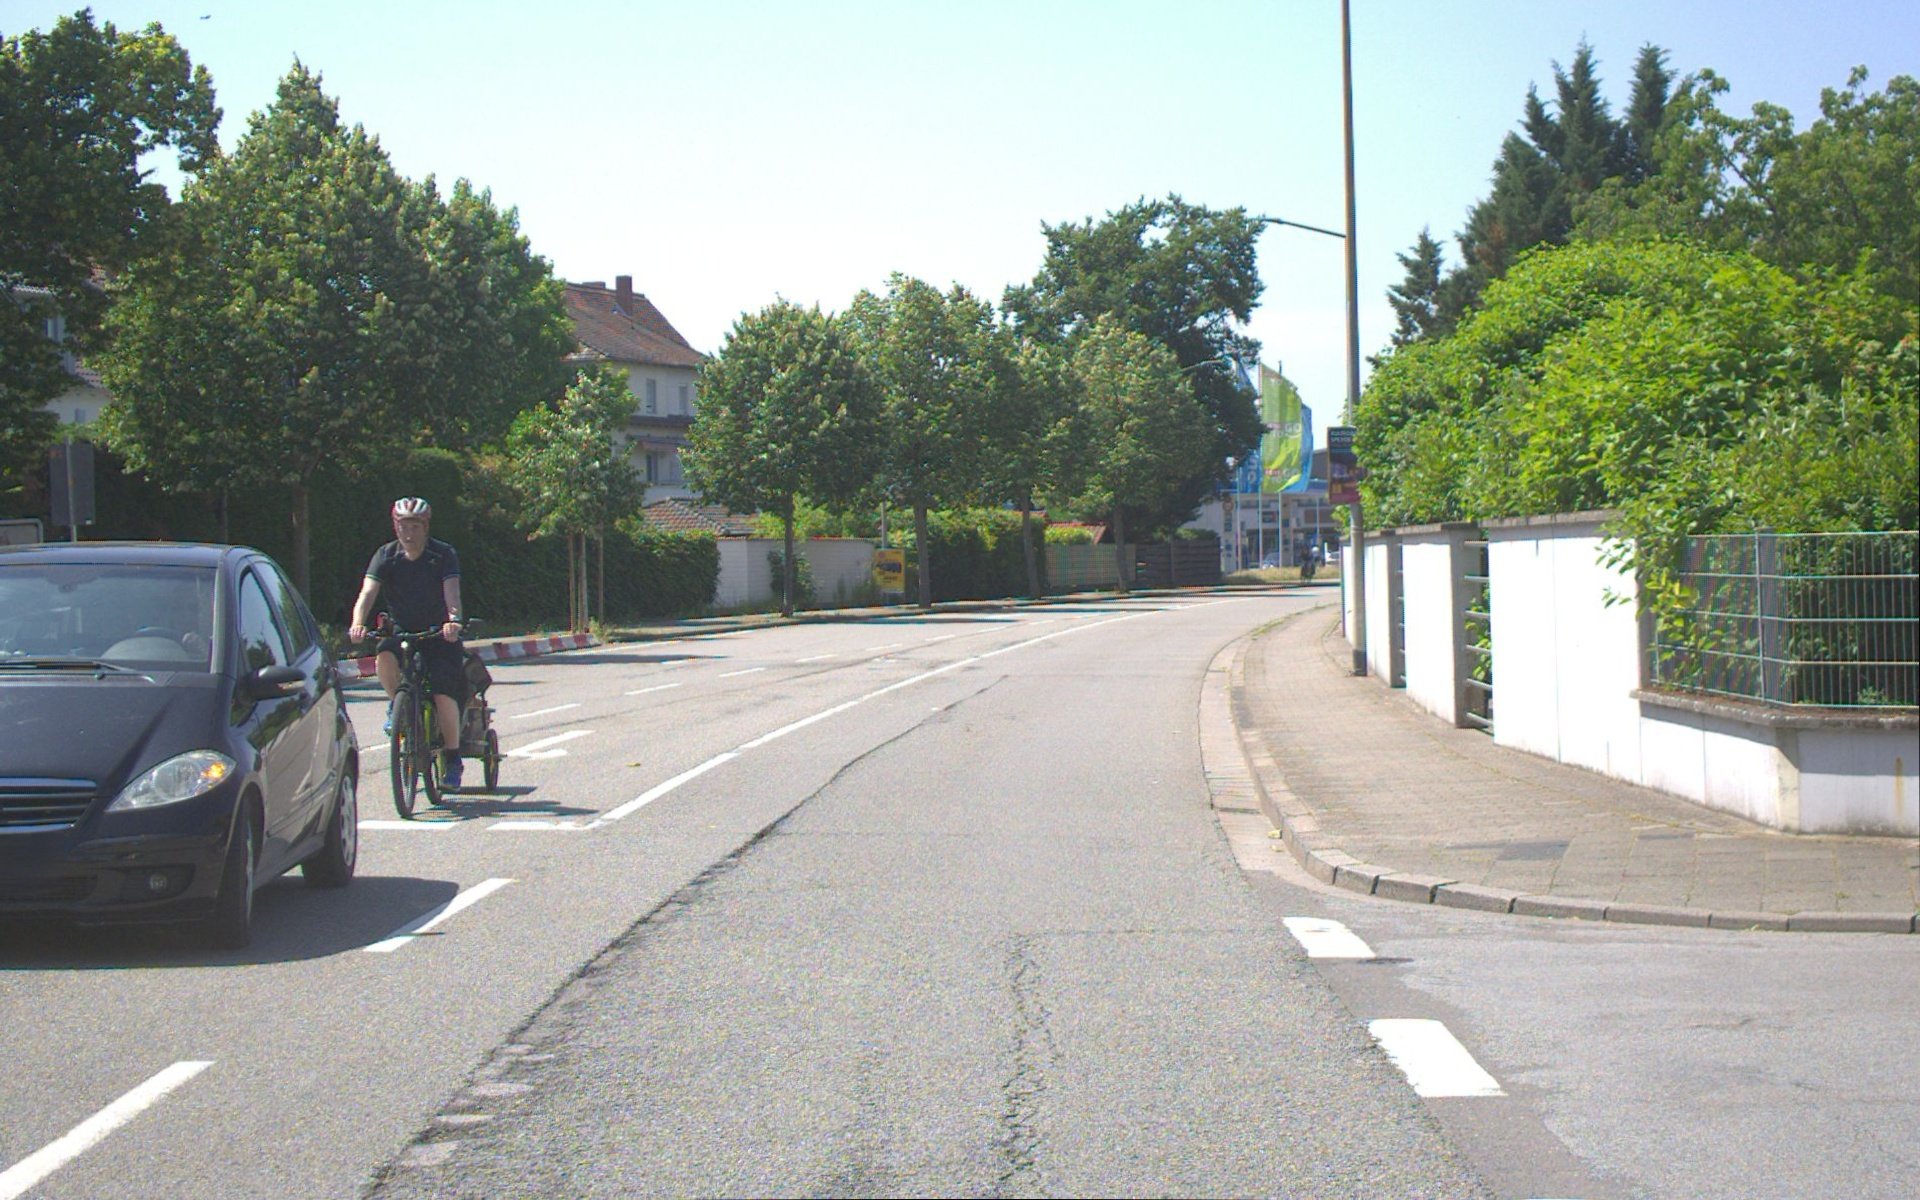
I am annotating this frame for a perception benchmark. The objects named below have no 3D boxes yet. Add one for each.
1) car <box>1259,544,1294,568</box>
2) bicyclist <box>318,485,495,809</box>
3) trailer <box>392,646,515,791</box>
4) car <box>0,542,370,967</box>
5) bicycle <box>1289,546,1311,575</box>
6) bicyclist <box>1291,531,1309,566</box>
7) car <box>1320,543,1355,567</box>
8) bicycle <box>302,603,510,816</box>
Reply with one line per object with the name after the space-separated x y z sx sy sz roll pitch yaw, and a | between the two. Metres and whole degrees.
20.053 -2.807 217.821 1.618 1.415 3.709 -3 1 14 | car
-3.257 0.264 20.292 0.846 1.859 0.976 -1 1 1 | bicyclist
-3.214 0.741 21.885 0.570 0.853 1.132 -2 1 1 | trailer
-3.589 0.528 14.265 1.725 1.527 3.830 0 1 -2 | car
14.055 -1.640 141.960 0.632 1.176 1.815 -1 1 14 | bicycle
14.024 -2.117 141.870 0.628 1.404 0.676 -1 1 14 | bicyclist
23.871 -2.871 217.221 1.618 1.415 3.709 -3 1 14 | car
-3.245 0.619 20.322 0.850 1.162 1.977 -1 1 1 | bicycle
